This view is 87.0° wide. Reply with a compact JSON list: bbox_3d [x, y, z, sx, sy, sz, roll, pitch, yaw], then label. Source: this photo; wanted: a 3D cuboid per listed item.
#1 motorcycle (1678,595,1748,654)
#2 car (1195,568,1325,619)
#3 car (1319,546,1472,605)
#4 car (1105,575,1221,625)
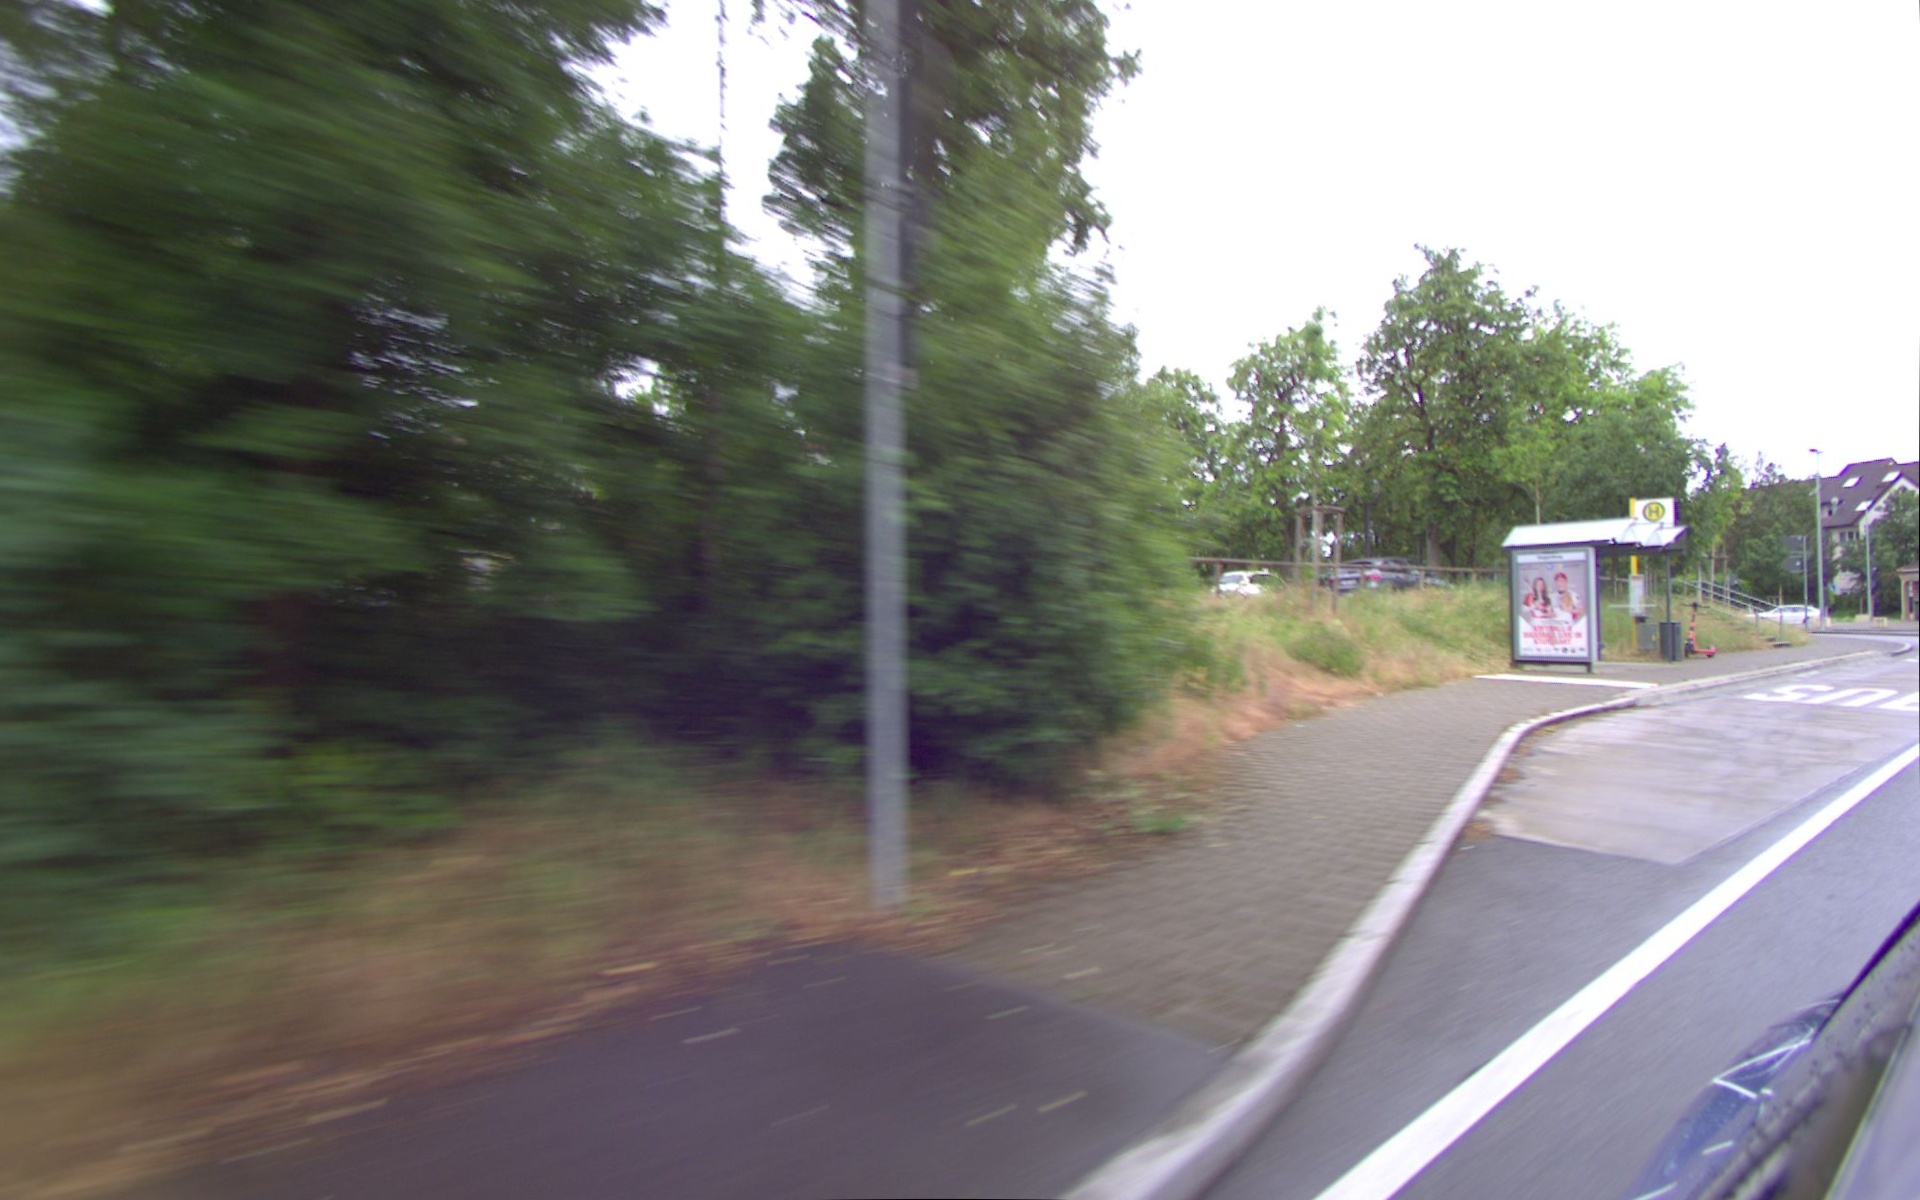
[{"bbox_3d":[17.006,0.538,22.861,1.506,1.305,0.592,0,0,-23],"label":"motorcycle"},{"bbox_3d":[9.900,-0.217,33.313,3.989,1.499,1.892,-2,-2,-32],"label":"car"},{"bbox_3d":[12.617,-0.712,29.274,4.201,1.499,2.000,-2,-2,-32],"label":"car"},{"bbox_3d":[7.588,0.009,37.794,3.922,1.684,2.000,0,-3,-33],"label":"car"}]
